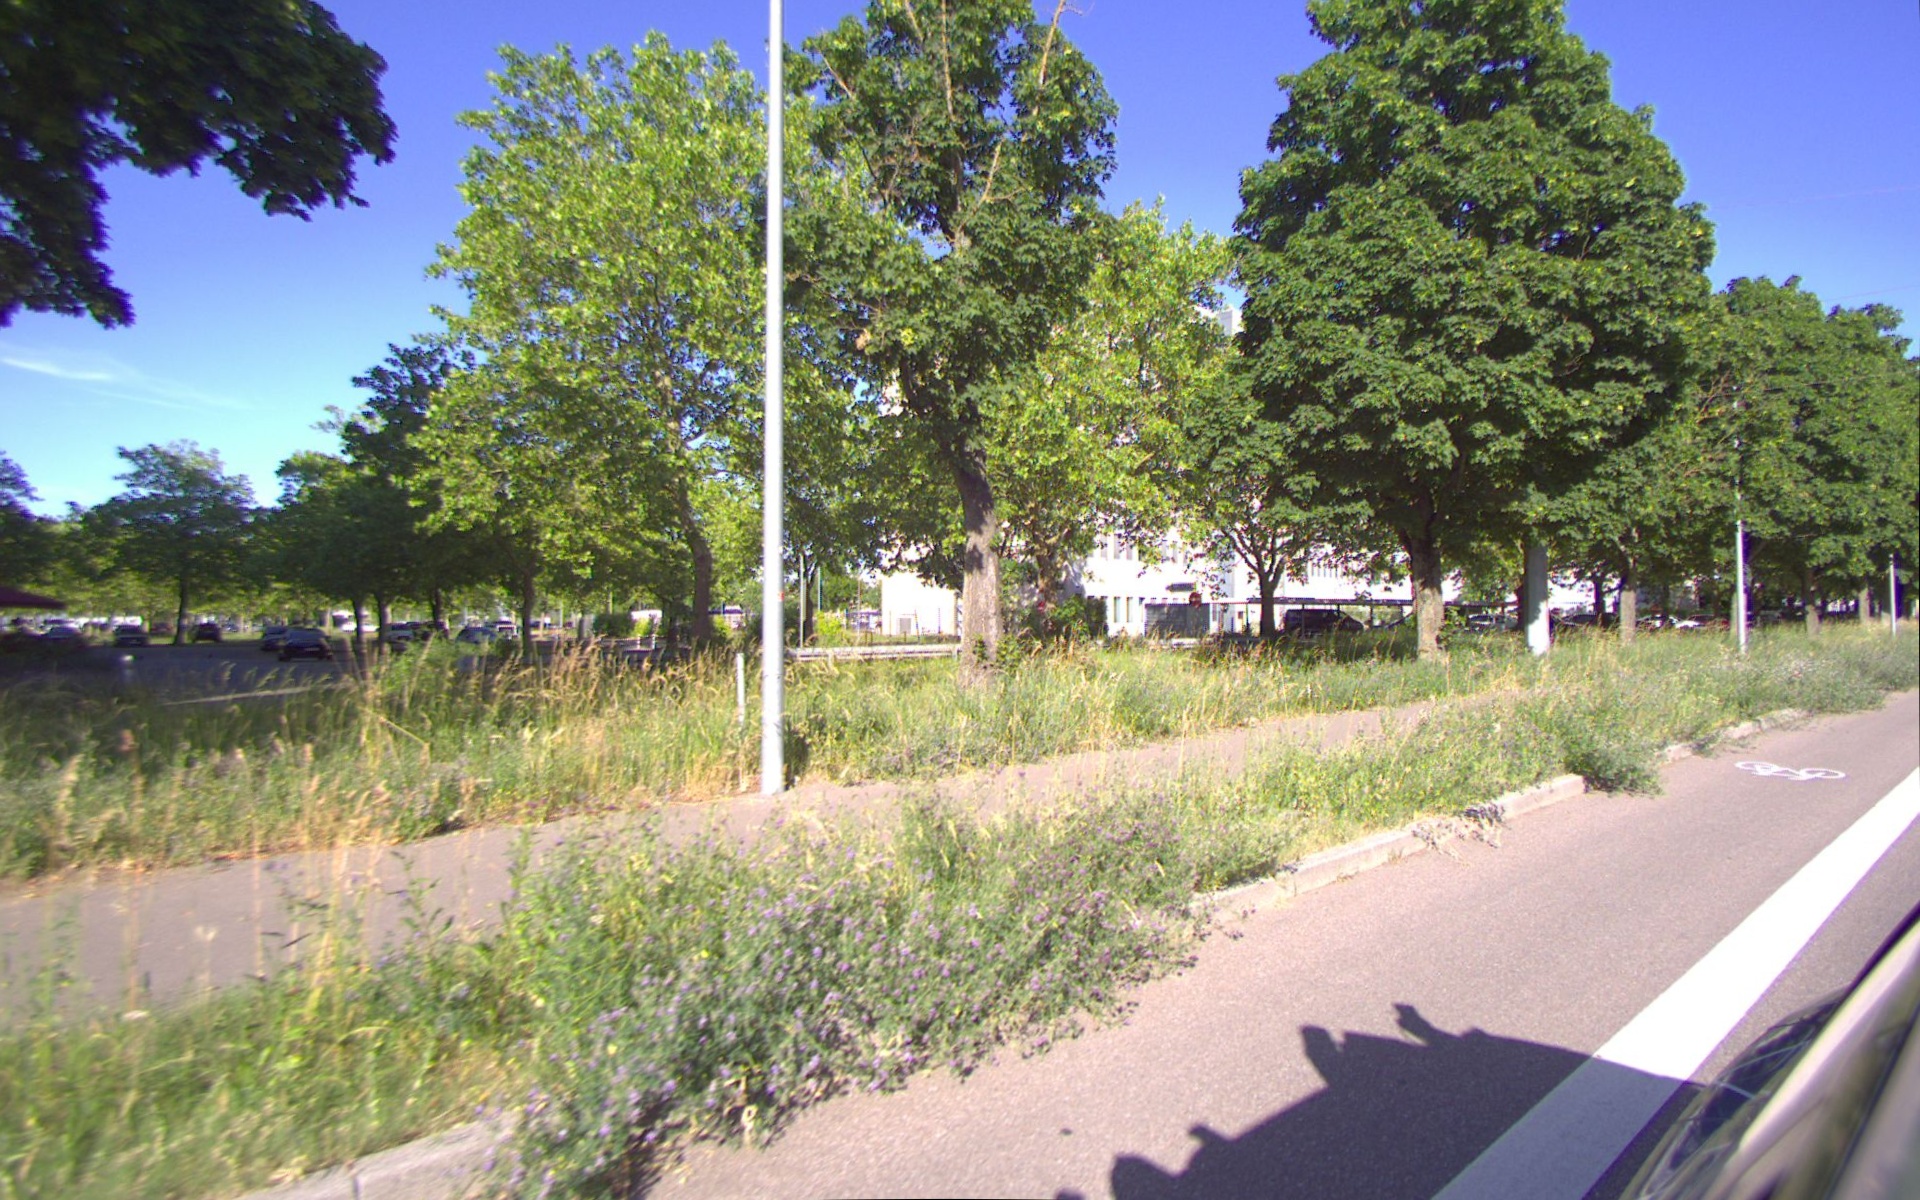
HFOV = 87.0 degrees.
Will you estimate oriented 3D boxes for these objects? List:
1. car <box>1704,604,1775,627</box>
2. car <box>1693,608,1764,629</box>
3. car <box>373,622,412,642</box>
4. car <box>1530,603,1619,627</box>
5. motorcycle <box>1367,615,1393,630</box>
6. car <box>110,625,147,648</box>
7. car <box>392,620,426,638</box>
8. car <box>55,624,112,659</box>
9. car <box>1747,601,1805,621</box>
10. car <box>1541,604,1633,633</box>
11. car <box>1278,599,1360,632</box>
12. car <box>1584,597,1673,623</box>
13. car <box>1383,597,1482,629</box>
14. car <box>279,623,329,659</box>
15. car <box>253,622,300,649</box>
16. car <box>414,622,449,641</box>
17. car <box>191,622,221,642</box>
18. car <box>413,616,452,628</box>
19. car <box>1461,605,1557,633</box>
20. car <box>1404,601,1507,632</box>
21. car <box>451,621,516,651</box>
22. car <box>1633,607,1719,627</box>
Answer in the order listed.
[{"bbox_3d":[61.379,1.229,79.725,4.333,1.722,1.739,0,0,43],"label":"car"},{"bbox_3d":[59.614,1.391,78.517,4.229,1.555,1.739,0,0,43],"label":"car"},{"bbox_3d":[-44.062,2.490,78.541,1.800,1.481,4.223,1,-2,-41],"label":"car"},{"bbox_3d":[37.962,0.913,62.584,1.902,1.341,4.308,2,-1,-33],"label":"car"},{"bbox_3d":[29.037,1.559,69.975,0.528,0.983,1.652,1,-1,-39],"label":"motorcycle"},{"bbox_3d":[-55.884,2.458,68.009,1.800,1.481,4.223,1,-2,-41],"label":"car"},{"bbox_3d":[-48.956,2.587,89.860,1.800,1.481,4.223,1,-2,-41],"label":"car"},{"bbox_3d":[-40.409,1.874,46.652,1.842,1.511,3.990,1,-2,-43],"label":"car"},{"bbox_3d":[68.948,0.948,85.565,1.691,1.660,3.985,-1,-1,1],"label":"car"},{"bbox_3d":[34.647,1.035,55.982,1.677,1.545,4.000,1,-1,-41],"label":"car"},{"bbox_3d":[22.616,0.961,63.894,1.921,2.039,4.598,1,-1,-36],"label":"car"},{"bbox_3d":[42.510,0.631,64.389,1.851,1.617,4.398,1,-1,-41],"label":"car"},{"bbox_3d":[22.992,0.629,49.319,1.706,1.524,4.040,1,-1,-37],"label":"car"},{"bbox_3d":[-29.935,1.833,46.202,1.837,1.511,4.001,0,-1,-33],"label":"car"},{"bbox_3d":[-40.196,2.078,59.475,1.800,1.481,4.223,1,-2,-41],"label":"car"},{"bbox_3d":[-42.077,2.496,80.561,1.705,1.511,3.995,1,-2,-39],"label":"car"},{"bbox_3d":[-59.427,2.495,79.782,1.838,1.511,3.997,0,-1,-37],"label":"car"},{"bbox_3d":[-67.983,2.828,130.440,4.158,1.481,1.828,0,-2,-42],"label":"car"},{"bbox_3d":[29.552,1.018,54.552,1.790,1.450,4.178,0,-1,-35],"label":"car"},{"bbox_3d":[24.697,0.827,50.545,1.656,1.478,4.370,1,-1,-35],"label":"car"},{"bbox_3d":[-23.996,1.799,50.909,1.800,1.417,4.516,1,-2,-41],"label":"car"},{"bbox_3d":[50.806,1.201,71.853,1.775,1.287,4.706,2,-1,-40],"label":"car"}]
